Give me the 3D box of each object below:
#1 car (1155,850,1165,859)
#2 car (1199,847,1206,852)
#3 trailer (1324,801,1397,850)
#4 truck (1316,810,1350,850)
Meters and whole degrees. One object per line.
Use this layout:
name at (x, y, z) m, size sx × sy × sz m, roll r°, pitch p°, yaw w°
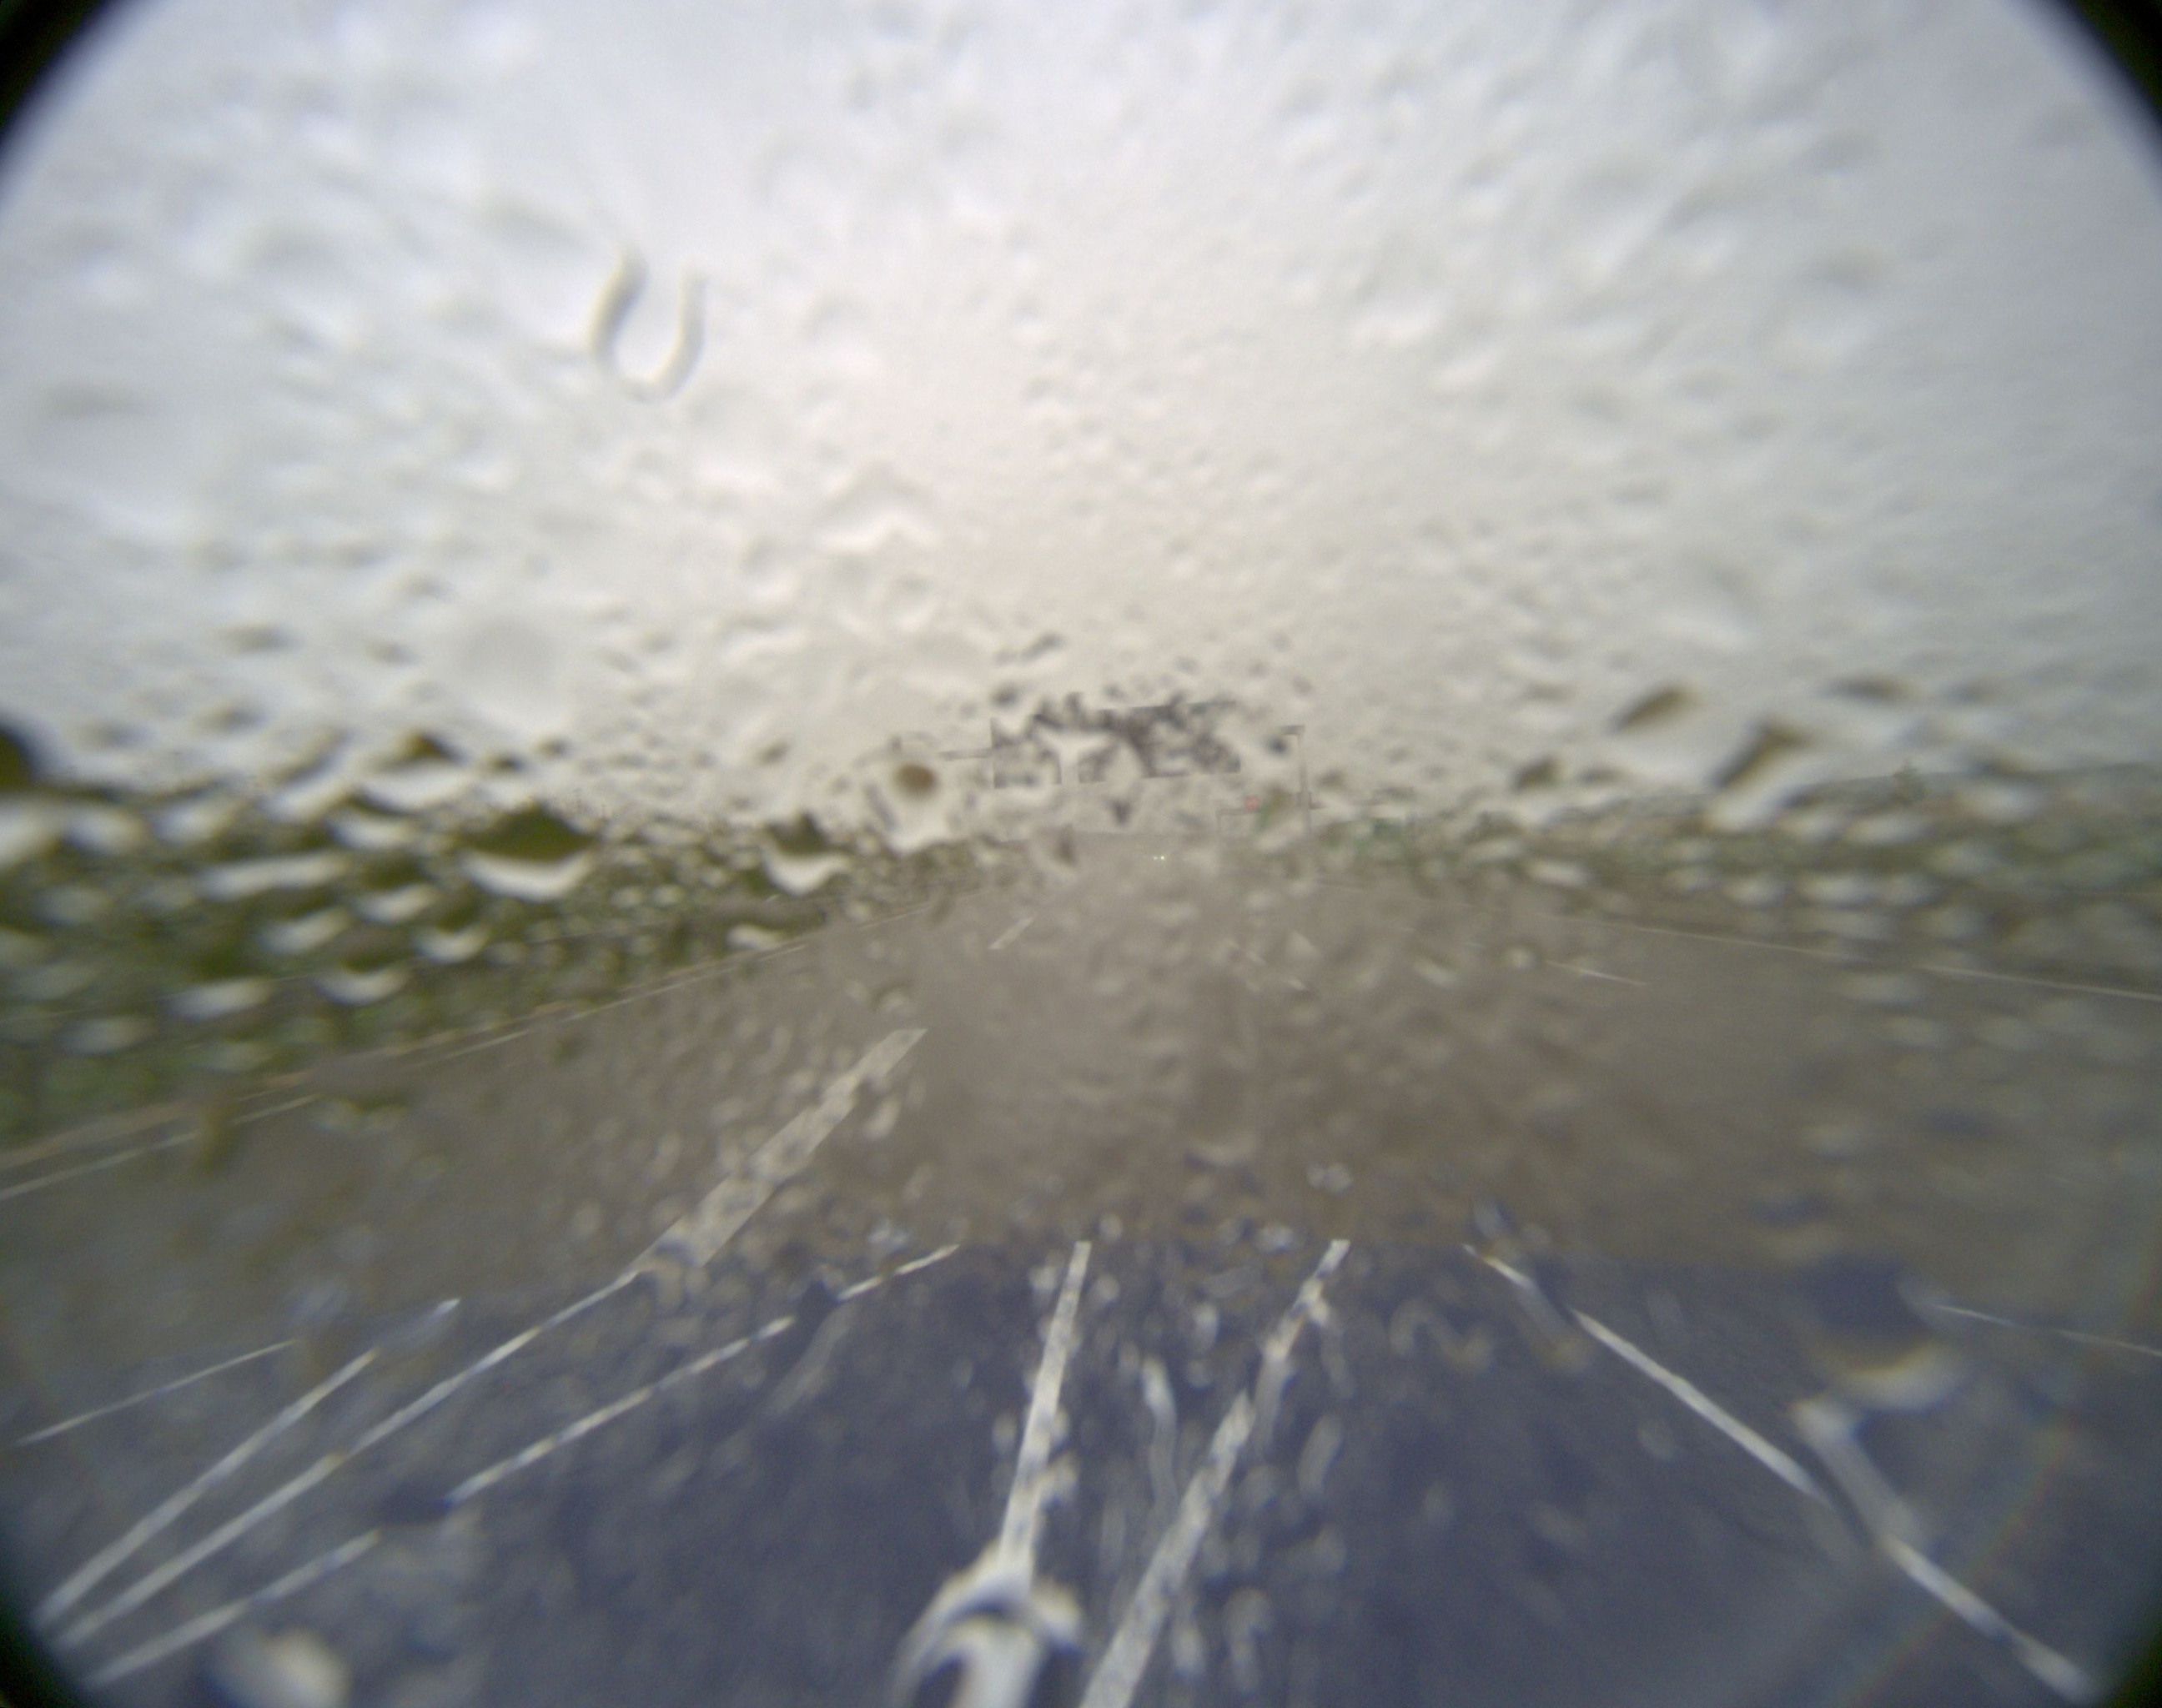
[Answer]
car at (14.773, 0.149, 142.044) m, size 1.700 × 1.543 × 3.735 m, roll -2°, pitch 0°, yaw 7°
car at (37.175, -1.436, 232.637) m, size 1.698 × 1.477 × 4.001 m, roll -2°, pitch 0°, yaw 5°
trailer at (25.862, -2.464, 71.280) m, size 1.998 × 4.016 × 14.304 m, roll -2°, pitch 0°, yaw 2°
truck at (26.177, -2.465, 78.957) m, size 2.014 × 3.968 × 4.820 m, roll -2°, pitch 0°, yaw 2°
